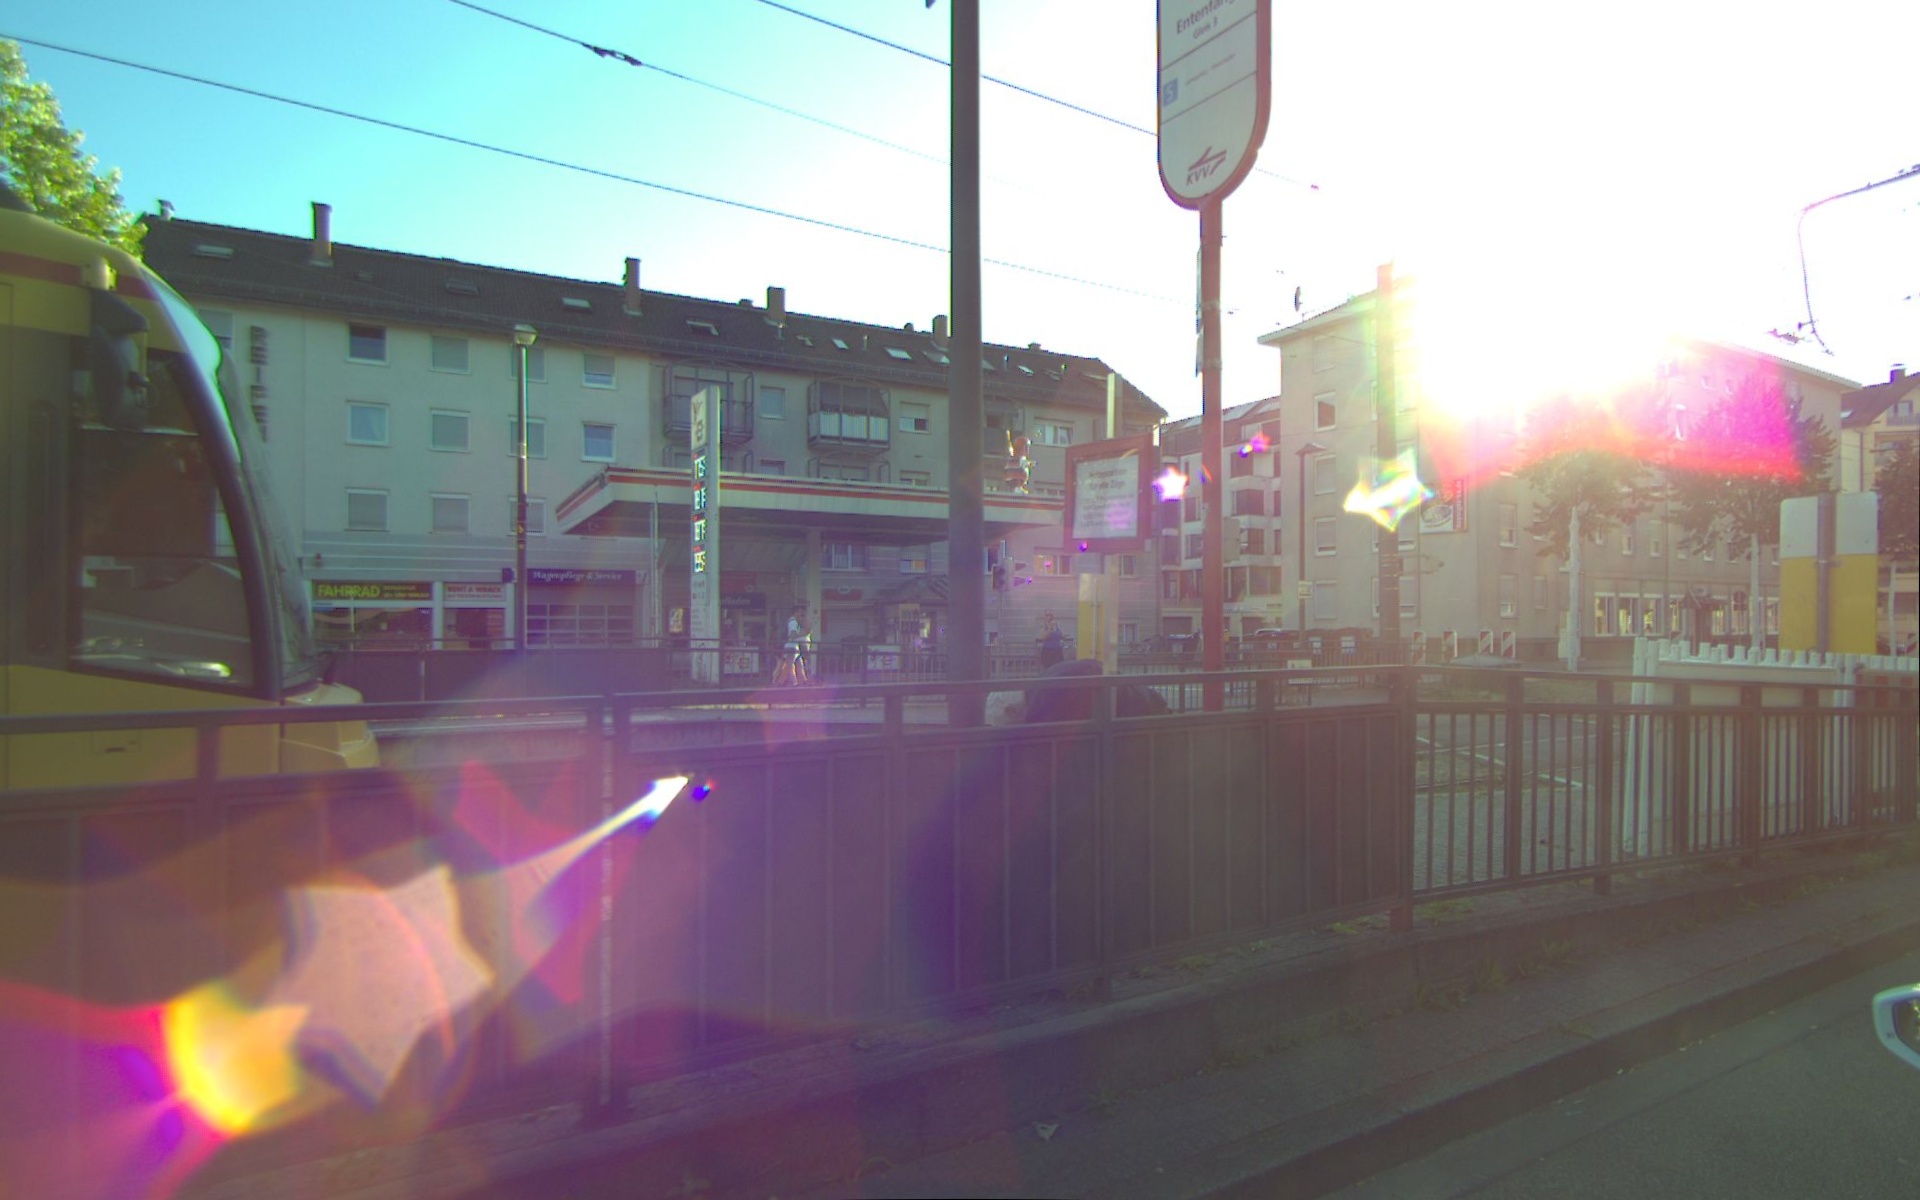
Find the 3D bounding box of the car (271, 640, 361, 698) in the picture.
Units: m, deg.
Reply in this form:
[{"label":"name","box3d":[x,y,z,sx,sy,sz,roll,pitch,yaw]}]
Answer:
[{"label":"car","box3d":[-18.773,1.959,29.424,1.794,1.543,3.781,1,-2,-27]}]

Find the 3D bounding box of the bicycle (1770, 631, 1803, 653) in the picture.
[{"label":"bicycle","box3d":[42.368,2.149,51.492,1.757,1.129,0.743,1,-2,-30]}]

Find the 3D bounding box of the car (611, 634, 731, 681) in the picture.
[{"label":"car","box3d":[-10.181,1.984,35.422,3.783,1.543,1.804,1,-2,-30]}]

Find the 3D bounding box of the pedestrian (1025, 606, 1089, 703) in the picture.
[{"label":"pedestrian","box3d":[1.720,0.958,18.010,0.920,1.676,0.924,1,1,-8]}]

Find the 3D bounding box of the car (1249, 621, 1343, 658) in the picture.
[{"label":"car","box3d":[14.602,1.745,43.879,1.792,1.532,3.807,1,-2,-24]}]

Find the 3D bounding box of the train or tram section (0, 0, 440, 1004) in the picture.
[{"label":"train or tram section","box3d":[-7.251,-0.397,2.919,9.984,3.563,3.020,2,-3,-32]}]

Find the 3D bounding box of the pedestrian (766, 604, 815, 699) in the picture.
[{"label":"pedestrian","box3d":[-3.612,1.085,21.373,0.747,1.957,0.853,1,-1,-33]}]

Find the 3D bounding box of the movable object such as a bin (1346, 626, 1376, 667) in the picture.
[{"label":"movable object such as a bin","box3d":[14.241,1.639,35.651,0.740,1.419,0.660,1,-2,-32]}]

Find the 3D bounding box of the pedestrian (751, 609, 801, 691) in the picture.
[{"label":"pedestrian","box3d":[-4.056,1.090,22.146,0.851,1.770,0.748,1,-1,-33]}]

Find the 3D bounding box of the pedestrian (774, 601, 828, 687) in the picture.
[{"label":"pedestrian","box3d":[-3.677,1.005,23.210,0.989,1.907,0.749,1,1,-32]}]

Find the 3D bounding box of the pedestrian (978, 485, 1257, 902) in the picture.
[{"label":"pedestrian","box3d":[0.673,0.357,4.393,0.782,1.571,0.908,1,0,-38]}]
